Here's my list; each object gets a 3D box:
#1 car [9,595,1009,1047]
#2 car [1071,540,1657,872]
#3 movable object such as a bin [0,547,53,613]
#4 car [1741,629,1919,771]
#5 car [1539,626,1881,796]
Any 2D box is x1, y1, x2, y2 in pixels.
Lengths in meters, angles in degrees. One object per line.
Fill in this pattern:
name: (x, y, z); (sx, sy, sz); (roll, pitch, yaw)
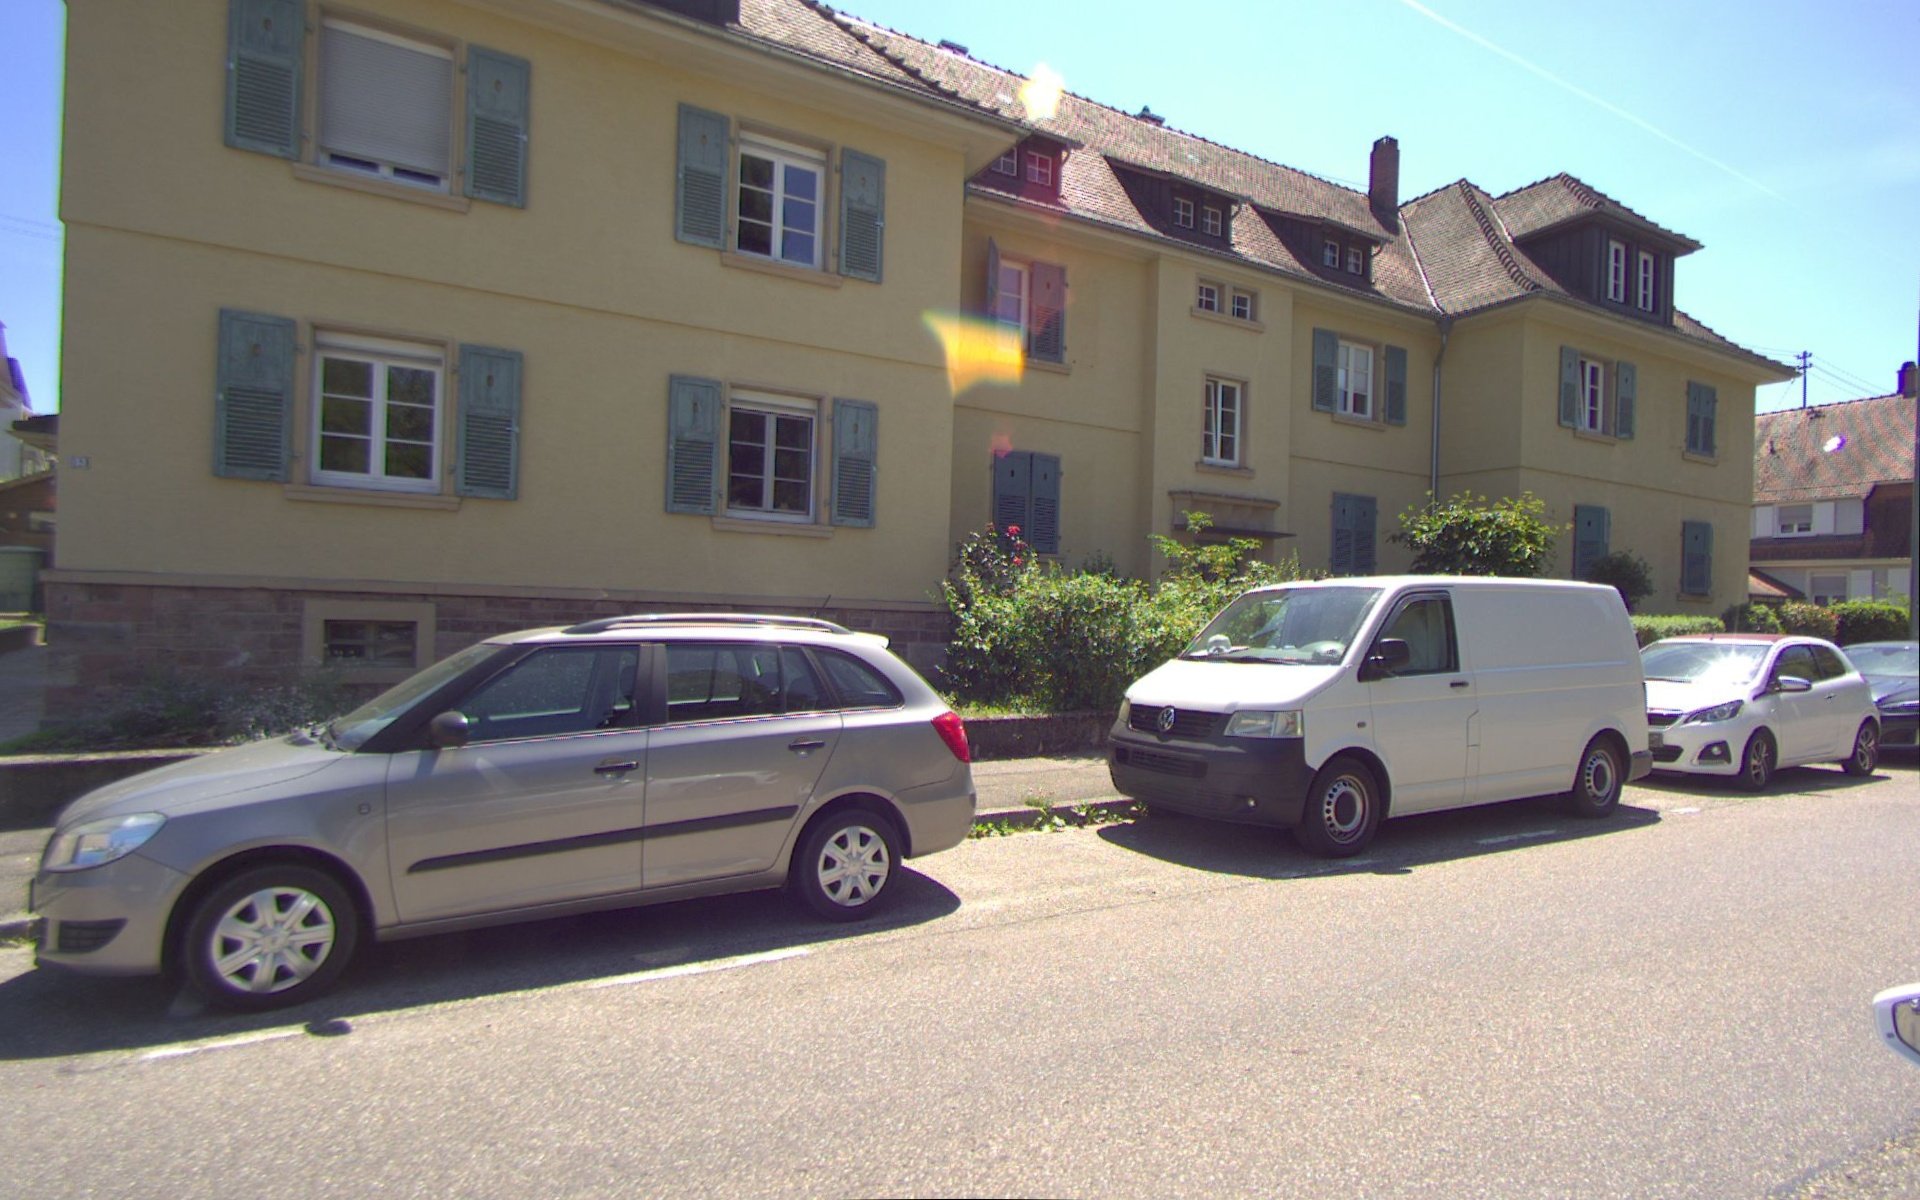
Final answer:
car: (-1.885, 0.836, 5.174); (4.012, 1.545, 1.680); (1, -3, -29)
car: (3.289, 0.727, 7.991); (4.570, 1.989, 1.870); (1, -3, -29)
movable object such as a bin: (-18.370, -0.381, 19.633); (0.712, 1.247, 0.775); (2, -1, -25)
car: (11.945, 1.155, 12.714); (4.411, 1.512, 1.659); (1, -1, -29)
car: (7.952, 1.056, 10.620); (3.435, 1.512, 1.659); (1, -1, -29)
